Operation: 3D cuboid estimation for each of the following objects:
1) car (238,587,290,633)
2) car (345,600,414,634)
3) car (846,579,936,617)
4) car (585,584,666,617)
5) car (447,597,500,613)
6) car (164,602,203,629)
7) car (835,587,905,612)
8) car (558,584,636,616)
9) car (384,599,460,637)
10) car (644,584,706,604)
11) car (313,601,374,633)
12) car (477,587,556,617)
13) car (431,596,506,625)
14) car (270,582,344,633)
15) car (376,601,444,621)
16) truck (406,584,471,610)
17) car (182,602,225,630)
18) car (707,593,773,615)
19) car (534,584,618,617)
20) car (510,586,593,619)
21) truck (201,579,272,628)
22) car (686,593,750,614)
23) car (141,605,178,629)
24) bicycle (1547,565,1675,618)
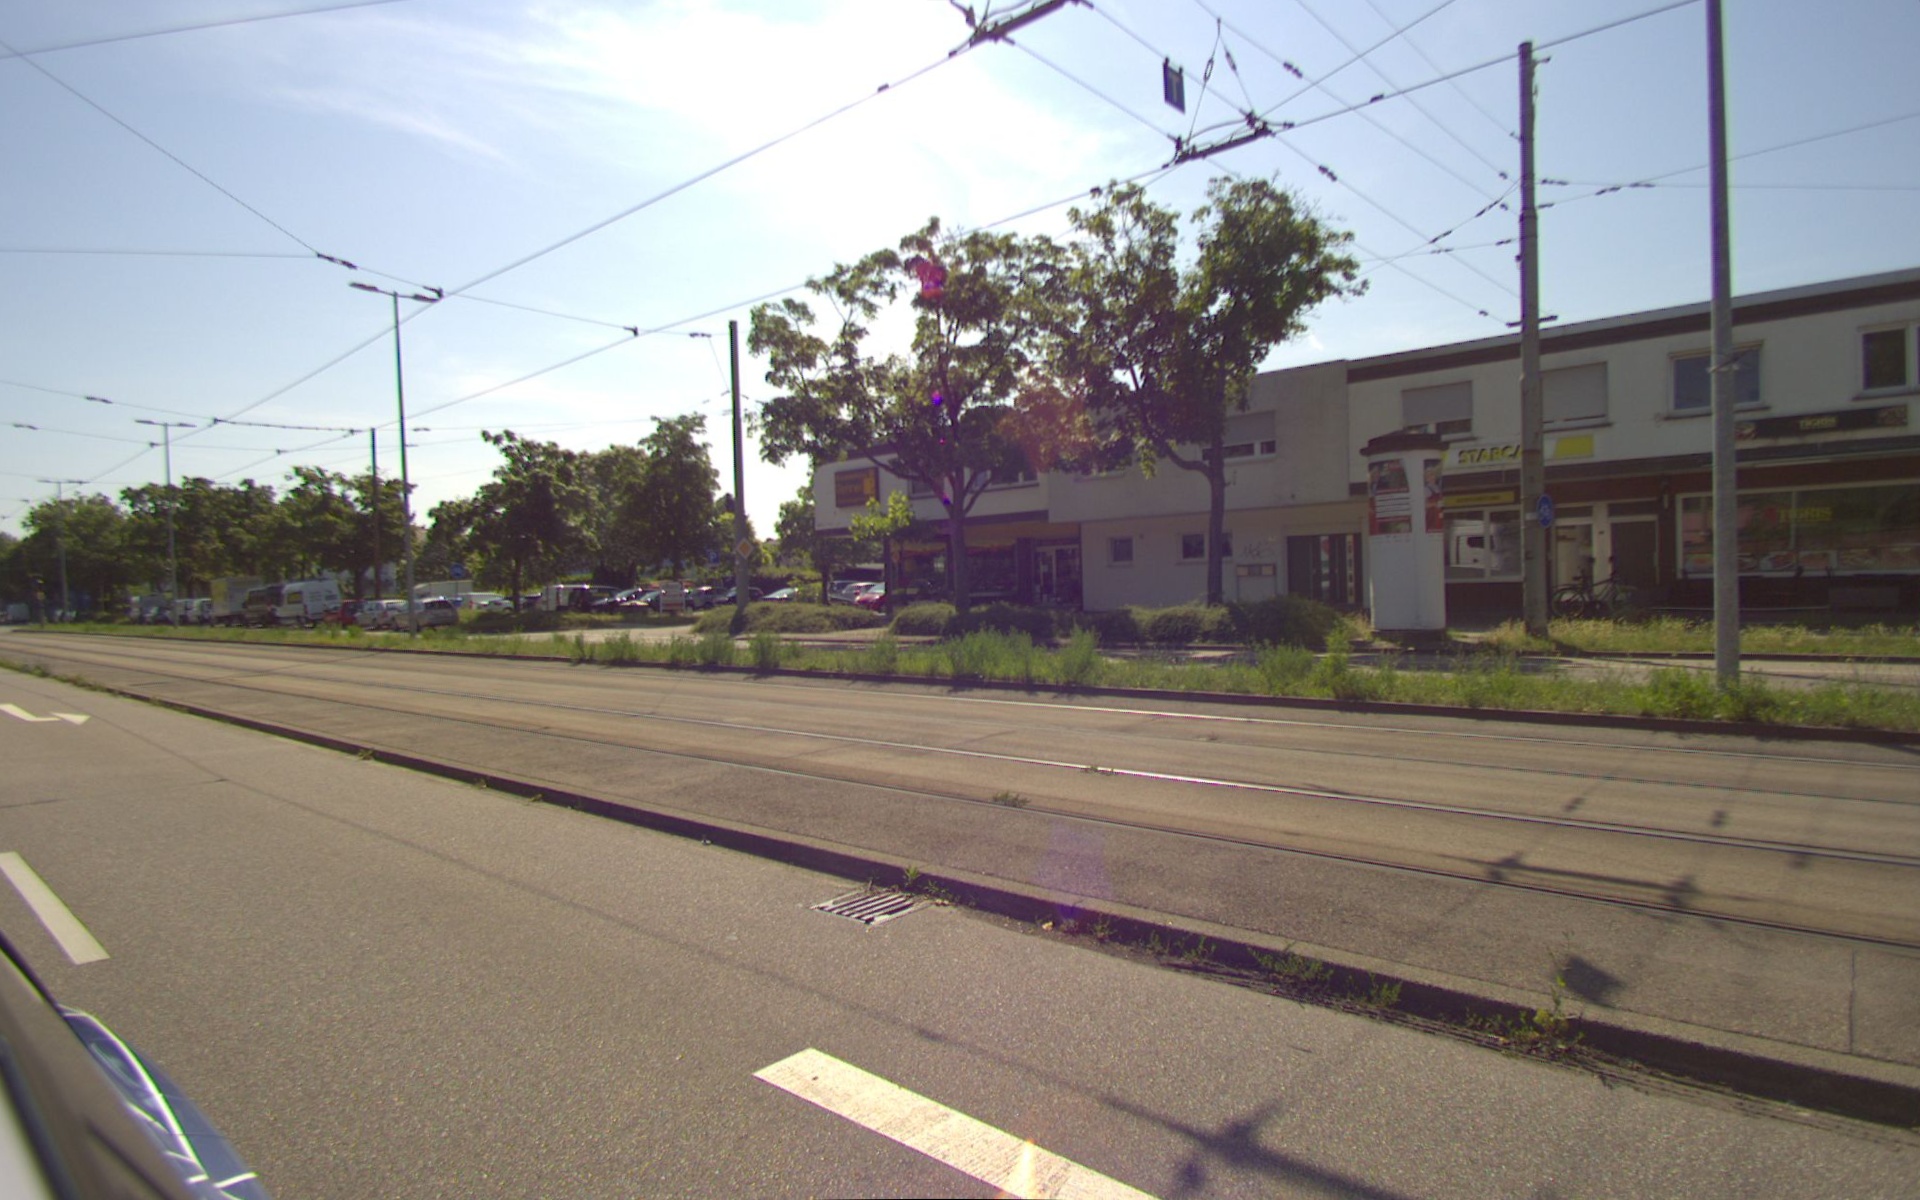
[{"bbox_3d":[-42.250,0.610,61.389,4.005,2.643,1.483,-1,4,41],"label":"car"},{"bbox_3d":[-29.293,0.863,51.034,4.255,1.544,1.654,-1,4,41],"label":"car"},{"bbox_3d":[-3.231,-0.119,47.988,1.676,1.616,4.197,-1,1,42],"label":"car"},{"bbox_3d":[-17.951,0.000,54.435,1.676,1.646,3.761,-1,1,42],"label":"car"},{"bbox_3d":[-45.920,0.426,95.642,1.676,1.345,4.198,-1,1,41],"label":"car"},{"bbox_3d":[-59.733,1.213,77.830,4.056,1.859,1.484,-1,4,40],"label":"car"},{"bbox_3d":[-5.453,-0.033,61.709,1.676,1.345,4.197,-1,1,42],"label":"car"},{"bbox_3d":[-20.216,-0.005,56.467,1.676,1.646,3.761,-1,1,42],"label":"car"},{"bbox_3d":[-25.171,0.843,47.325,4.255,1.544,1.654,-1,4,41],"label":"car"},{"bbox_3d":[-21.048,-0.483,74.745,1.674,1.345,4.201,-1,1,39],"label":"car"},{"bbox_3d":[-33.141,0.930,54.373,3.791,1.544,1.654,-1,4,41],"label":"car"},{"bbox_3d":[-28.010,0.101,64.005,1.988,1.751,4.068,-1,1,38],"label":"car"},{"bbox_3d":[-33.283,0.707,68.425,5.739,1.825,2.560,-1,1,42],"label":"car"},{"bbox_3d":[-37.239,0.442,57.656,5.201,2.673,2.036,-1,4,41],"label":"car"},{"bbox_3d":[-42.051,0.812,77.441,1.676,1.345,4.198,-1,1,41],"label":"car"},{"bbox_3d":[-53.041,-0.328,103.038,1.988,2.398,5.584,-1,1,38],"label":"truck"},{"bbox_3d":[-54.717,1.152,73.174,4.631,1.817,1.483,-1,4,41],"label":"car"},{"bbox_3d":[-15.105,0.289,69.620,1.676,1.345,4.197,-1,1,42],"label":"car"},{"bbox_3d":[-22.048,-0.005,58.191,1.988,1.751,4.068,-1,1,38],"label":"car"},{"bbox_3d":[-24.023,0.131,59.672,1.988,1.751,4.068,-1,1,38],"label":"car"},{"bbox_3d":[-48.259,0.234,67.486,5.902,2.956,2.476,-1,4,42],"label":"truck"},{"bbox_3d":[-17.056,0.245,71.474,1.676,1.345,4.197,-1,1,42],"label":"car"},{"bbox_3d":[-64.390,1.384,81.372,3.685,1.799,1.484,-1,4,40],"label":"car"},{"bbox_3d":[14.700,-0.169,22.895,2.333,1.161,0.779,-1,-1,42],"label":"bicycle"}]
